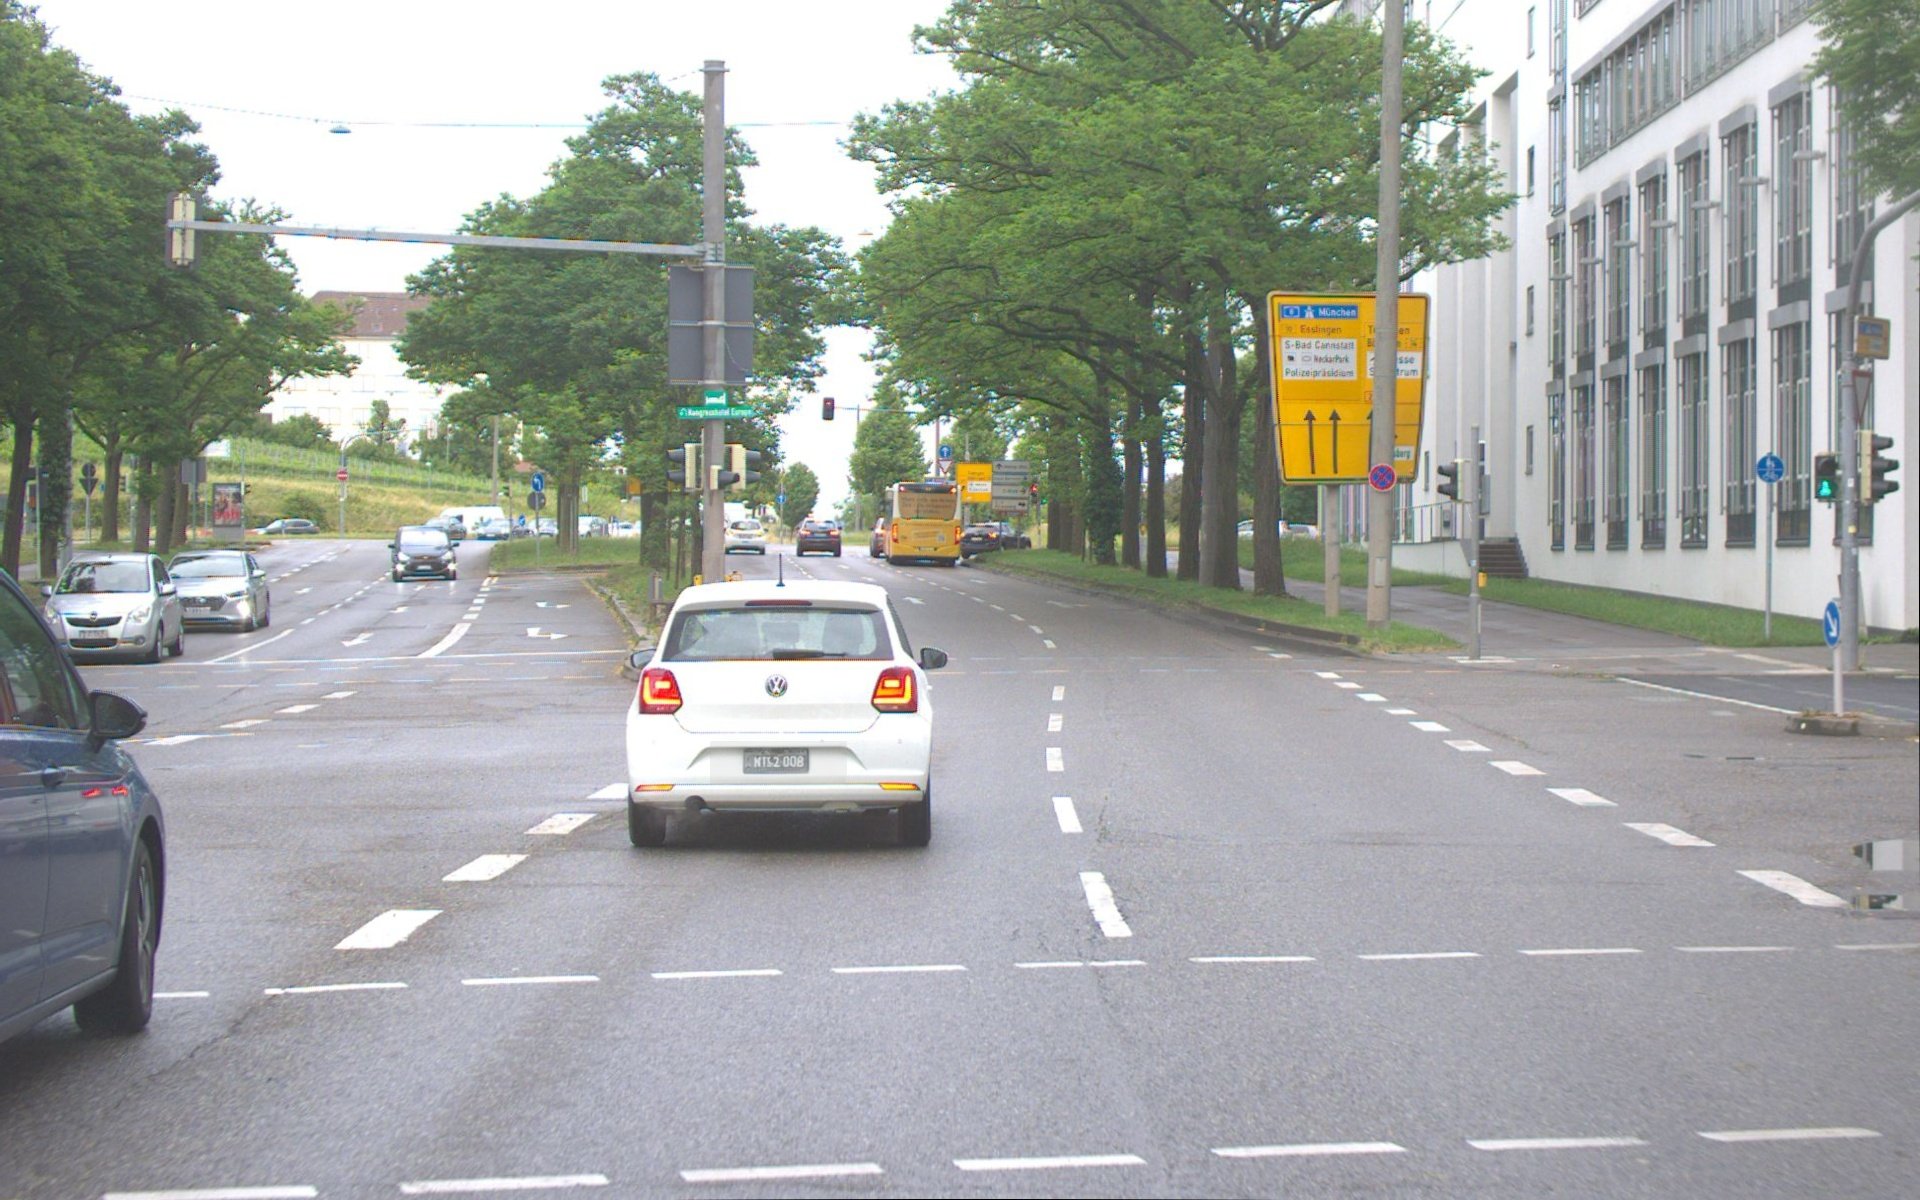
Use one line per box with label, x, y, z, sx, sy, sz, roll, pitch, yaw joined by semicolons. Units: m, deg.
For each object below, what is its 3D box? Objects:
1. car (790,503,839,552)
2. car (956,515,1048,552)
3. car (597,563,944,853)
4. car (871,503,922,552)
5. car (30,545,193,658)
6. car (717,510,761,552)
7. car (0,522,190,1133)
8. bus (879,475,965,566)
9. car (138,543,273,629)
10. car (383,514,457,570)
car;-6.030;-2.991;142.492;1.993;2.007;4.000;0;1;-3
car;1.751;-2.734;142.487;1.699;1.510;3.818;0;1;42
car;-1.052;0.545;19.961;1.794;1.497;4.000;1;0;-2
car;-2.659;-3.019;143.616;1.993;2.007;4.000;0;1;-3
car;-12.299;-0.008;50.018;1.750;1.515;3.818;-1;1;-6
car;-9.288;-2.886;144.151;1.794;1.735;4.001;-1;1;-4
car;-3.404;0.597;9.360;1.772;1.591;4.198;-1;1;-2
bus;-1.495;-3.035;129.948;2.828;3.255;10.002;1;2;-3
car;-13.556;-0.288;62.004;1.814;1.406;4.657;-2;2;-6
car;-16.372;-1.785;104.351;1.993;1.610;5.122;-1;2;-7
